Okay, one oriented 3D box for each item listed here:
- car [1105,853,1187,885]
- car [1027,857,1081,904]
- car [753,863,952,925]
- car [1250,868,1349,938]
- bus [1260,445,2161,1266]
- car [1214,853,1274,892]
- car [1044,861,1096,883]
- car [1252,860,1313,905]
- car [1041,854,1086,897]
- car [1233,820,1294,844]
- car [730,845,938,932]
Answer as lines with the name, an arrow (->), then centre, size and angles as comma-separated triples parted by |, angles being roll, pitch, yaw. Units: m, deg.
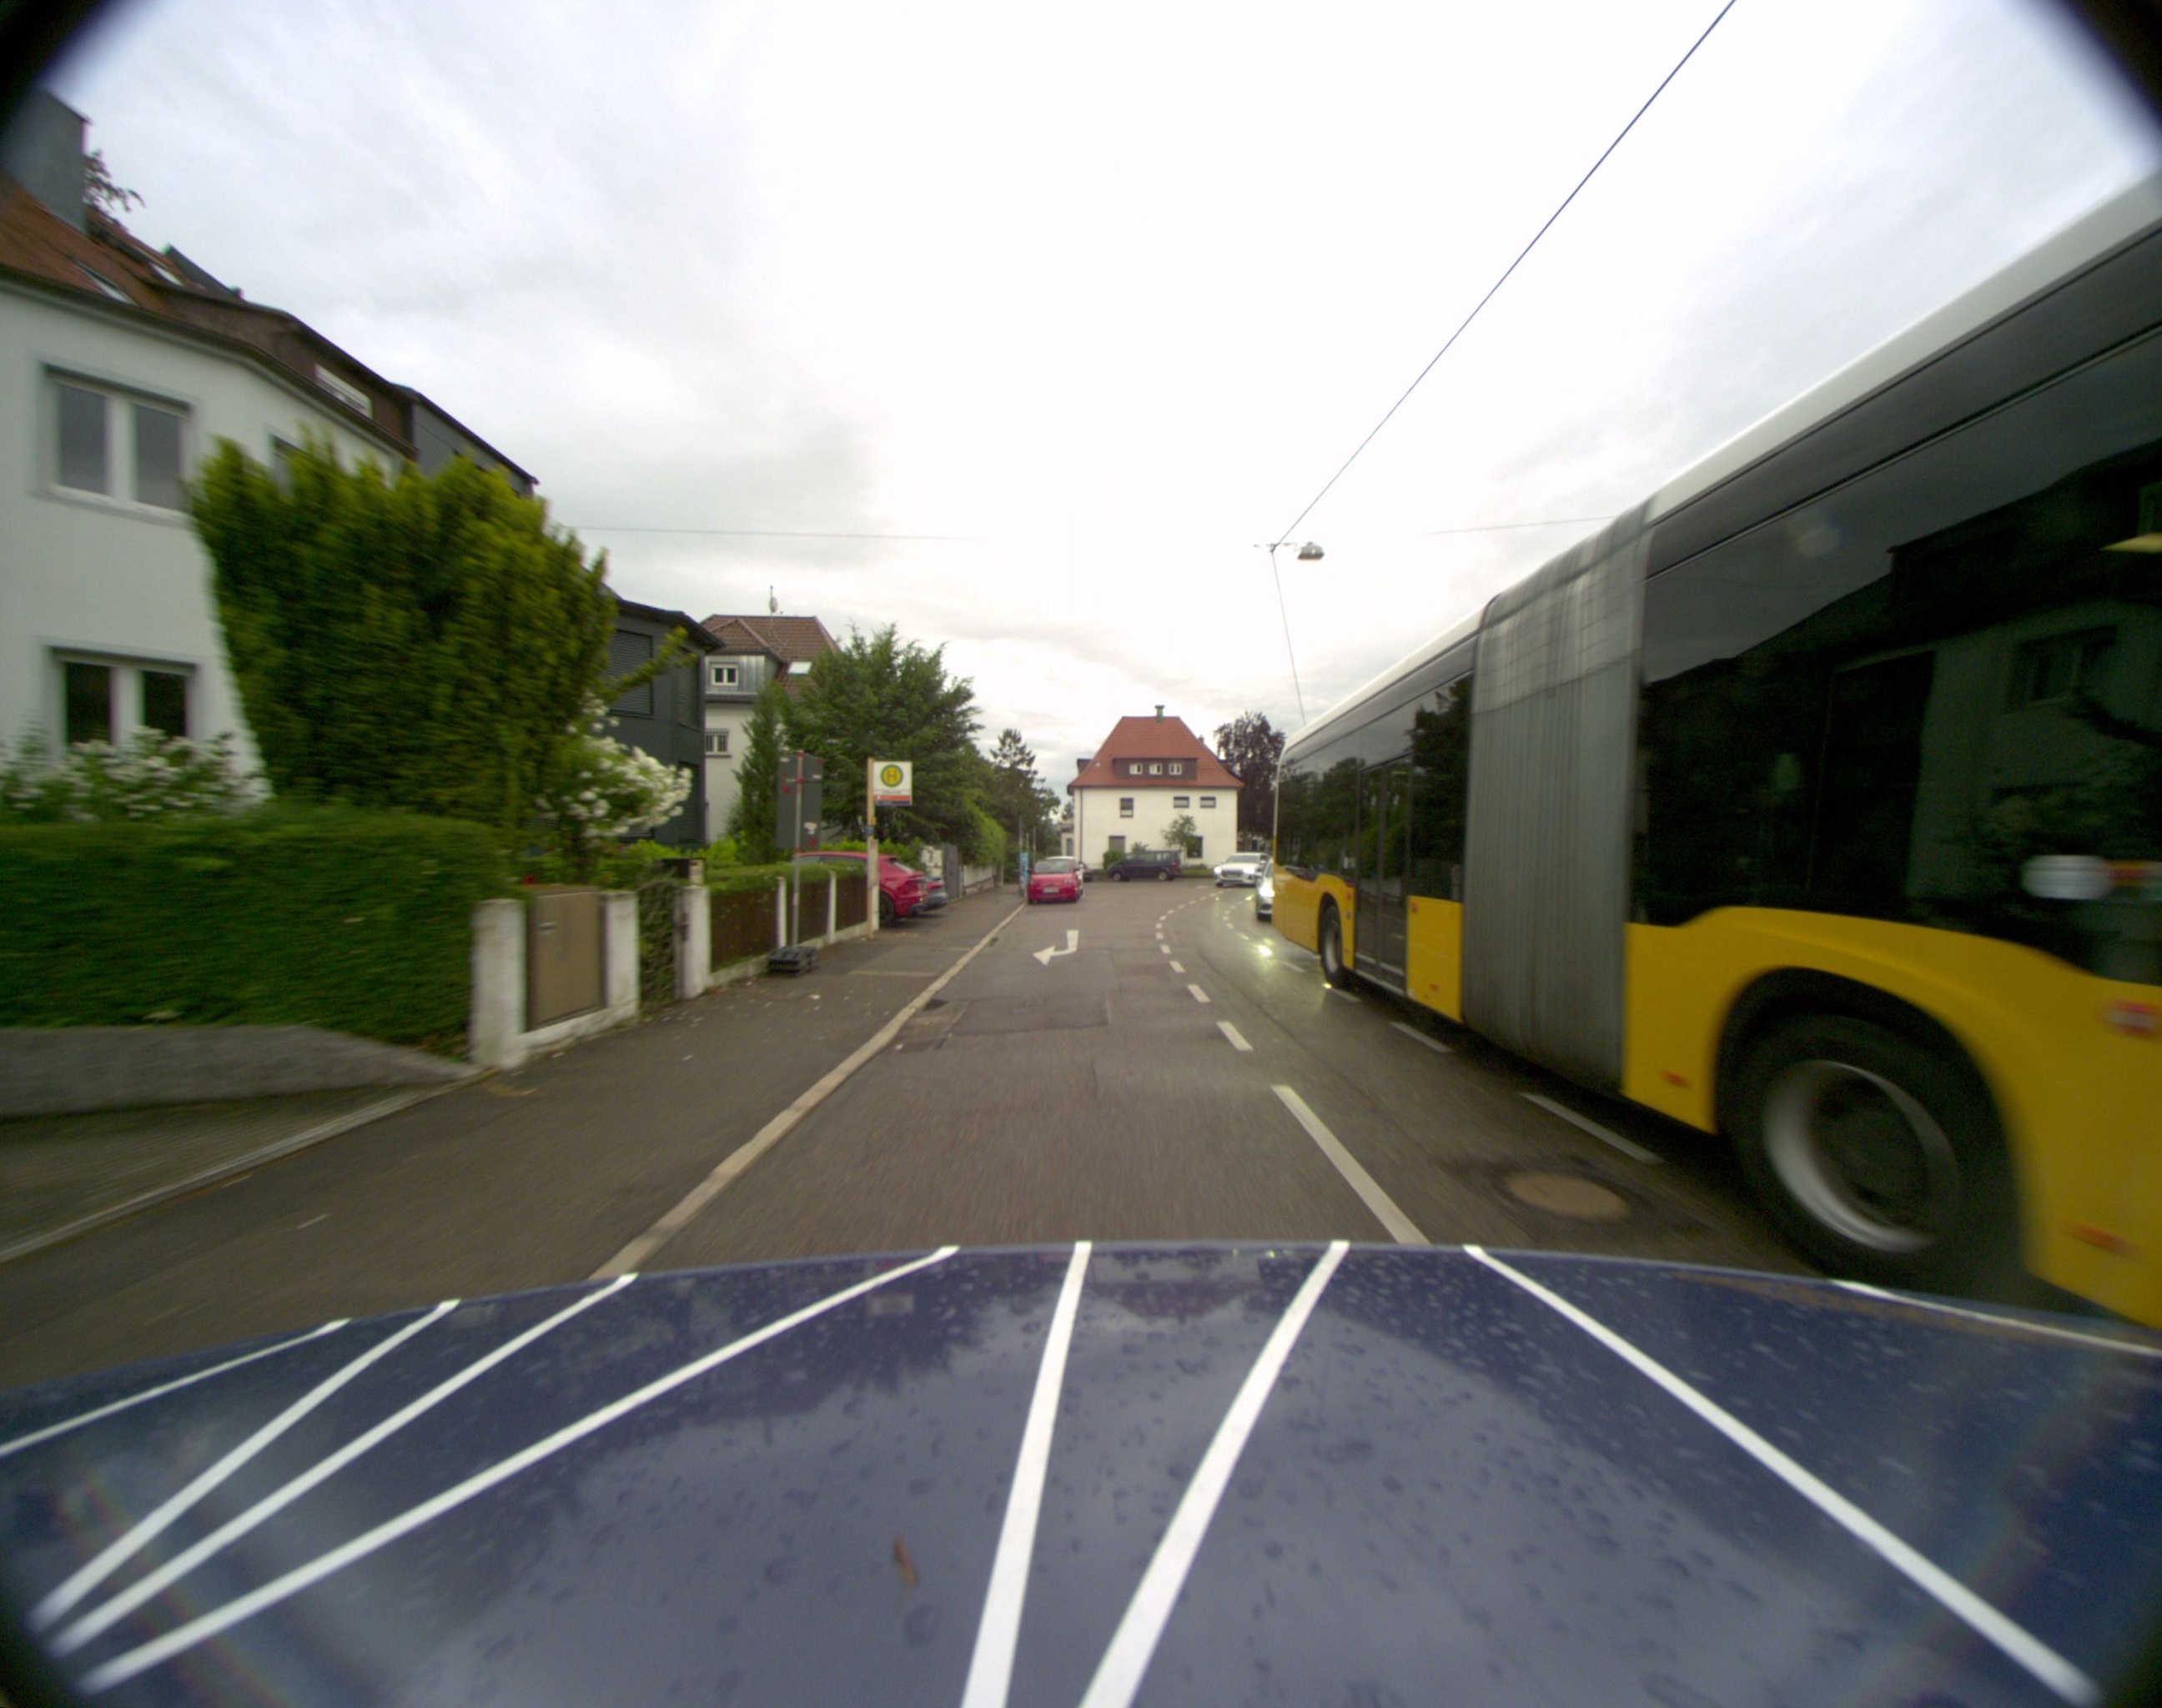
car -> 4.187, 0.933, 49.087 | 4.911, 1.936, 1.943 | 1, 1, 21
car -> -0.890, 0.882, 26.852 | 1.615, 1.528, 3.541 | -1, 0, 2
car -> -5.702, 0.989, 19.479 | 4.561, 1.408, 1.999 | 1, 0, -6
car -> 5.321, 1.121, 19.054 | 1.997, 1.470, 4.490 | 1, -1, 11
bus -> 3.931, 0.019, 7.498 | 2.682, 3.378, 8.682 | 1, 0, 3
car -> 7.735, 0.820, 35.750 | 1.792, 1.689, 3.897 | -1, 0, 27
car -> -0.750, 1.215, 50.986 | 3.269, 1.431, 1.323 | 0, -4, -13
car -> 7.357, 1.010, 28.069 | 1.897, 1.455, 3.684 | -1, 1, 11
car -> -0.695, 0.858, 32.051 | 1.748, 1.662, 4.647 | -1, 0, 0
car -> 15.356, -1.862, 64.059 | 4.734, 1.799, 1.945 | 4, 2, 19
car -> -5.361, 0.747, 16.795 | 4.090, 1.740, 1.997 | 2, 0, -18
